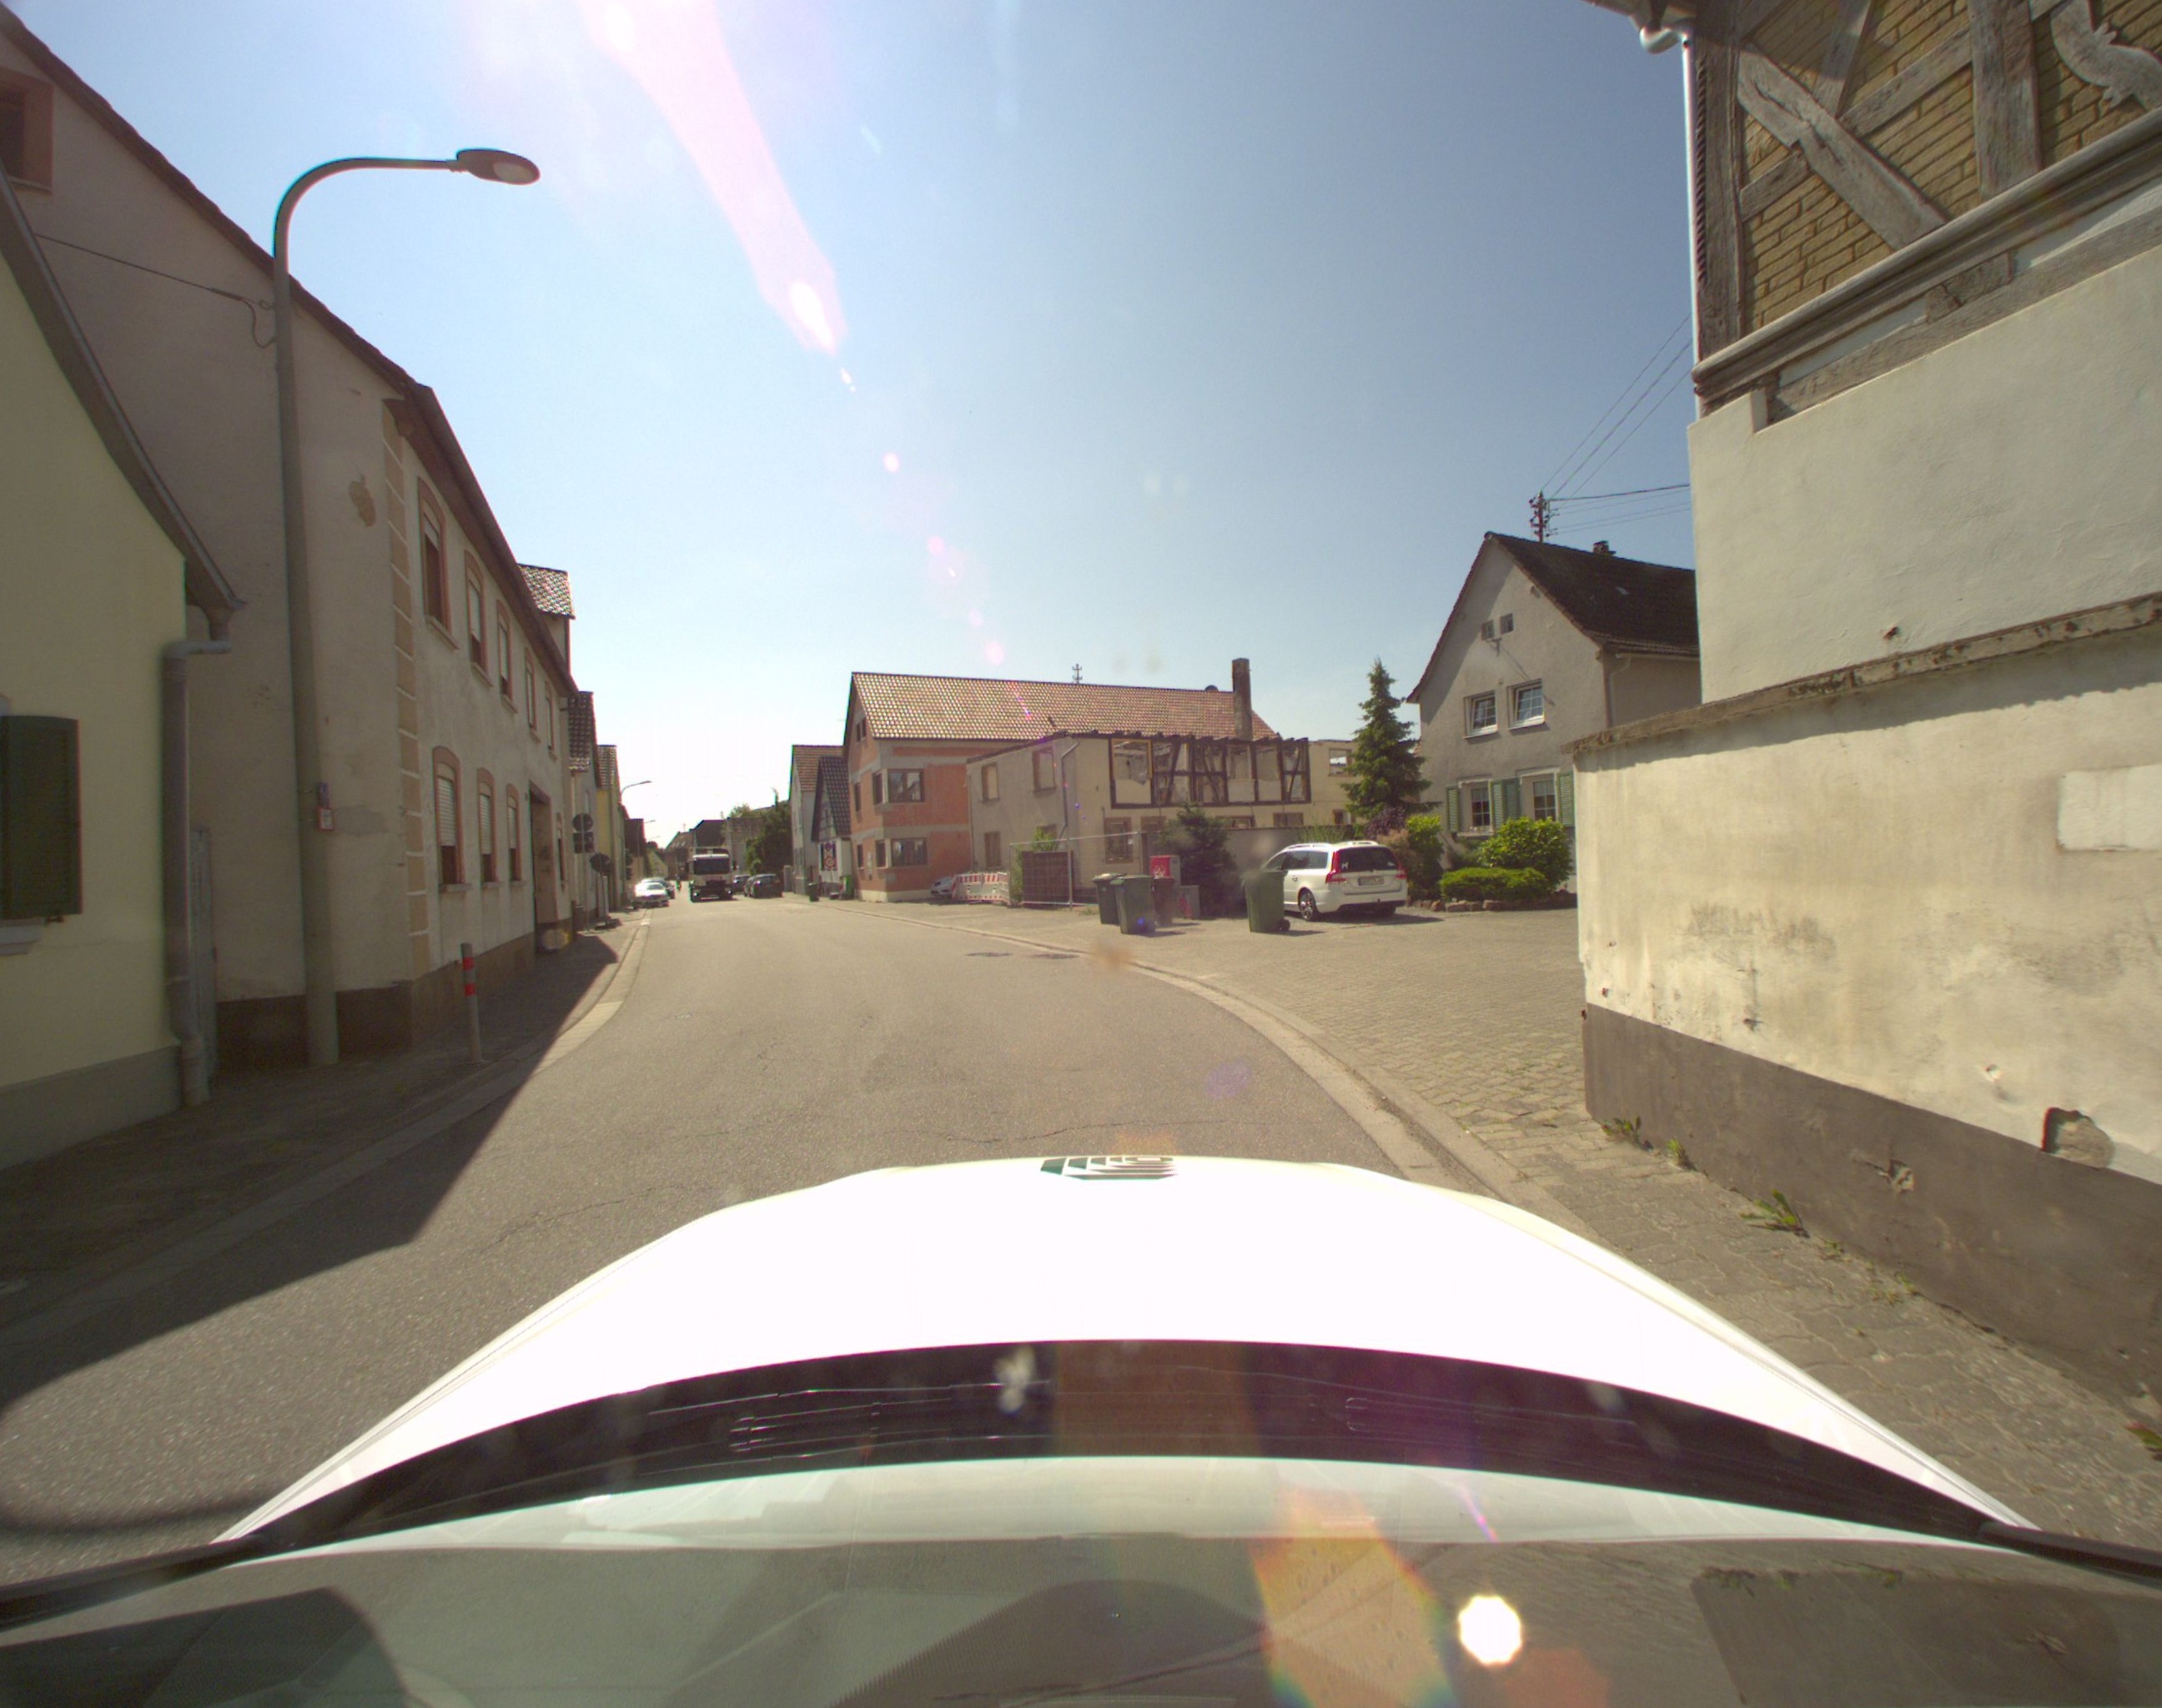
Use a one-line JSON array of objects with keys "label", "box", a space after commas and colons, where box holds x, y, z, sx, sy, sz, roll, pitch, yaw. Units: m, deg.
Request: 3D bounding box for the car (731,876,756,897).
[{"label": "car", "box": [-29.084, 2.732, 70.159, 1.802, 1.631, 4.326, -3, 0, -24]}]

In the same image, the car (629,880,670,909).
[{"label": "car", "box": [-25.250, 2.337, 47.574, 1.847, 1.464, 4.229, -4, 0, -30]}]

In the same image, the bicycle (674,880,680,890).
[{"label": "bicycle", "box": [-46.891, 3.608, 94.519, 0.593, 1.148, 1.930, -3, 0, -28]}]

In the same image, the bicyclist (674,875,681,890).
[{"label": "bicyclist", "box": [-46.931, 3.297, 94.698, 0.708, 1.771, 0.619, -3, 0, -27]}]

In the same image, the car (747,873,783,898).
[{"label": "car", "box": [-21.655, 2.124, 55.671, 1.807, 1.560, 4.590, -3, -1, -26]}]

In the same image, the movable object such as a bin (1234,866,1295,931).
[{"label": "movable object such as a bin", "box": [3.241, 0.771, 14.424, 0.723, 1.081, 0.749, -3, 0, -22]}]

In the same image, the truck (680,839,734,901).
[{"label": "truck", "box": [-25.776, 1.105, 55.824, 2.711, 3.750, 10.770, -3, 0, -28]}]

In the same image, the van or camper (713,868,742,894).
[{"label": "van or camper", "box": [-39.690, 2.993, 91.447, 2.536, 2.697, 4.513, -3, -1, -28]}]

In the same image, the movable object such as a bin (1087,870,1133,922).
[{"label": "movable object such as a bin", "box": [0.641, 0.910, 17.823, 0.664, 1.072, 0.766, -3, 0, 30]}]

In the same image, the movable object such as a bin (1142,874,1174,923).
[{"label": "movable object such as a bin", "box": [1.591, 0.913, 16.893, 0.466, 0.970, 0.493, -3, 0, -20]}]

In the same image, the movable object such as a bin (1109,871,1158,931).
[{"label": "movable object such as a bin", "box": [0.999, 0.881, 15.589, 0.689, 1.092, 0.633, -3, 0, -19]}]

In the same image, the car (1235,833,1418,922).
[{"label": "car", "box": [4.938, 0.444, 17.079, 1.812, 1.528, 4.279, -3, 0, -12]}]

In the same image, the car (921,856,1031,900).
[{"label": "car", "box": [-4.356, 0.989, 34.068, 4.117, 1.507, 1.851, -4, 0, -33]}]

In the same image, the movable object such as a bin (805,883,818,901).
[{"label": "movable object such as a bin", "box": [-14.119, 1.985, 42.653, 0.538, 0.913, 0.550, -3, -1, -10]}]
